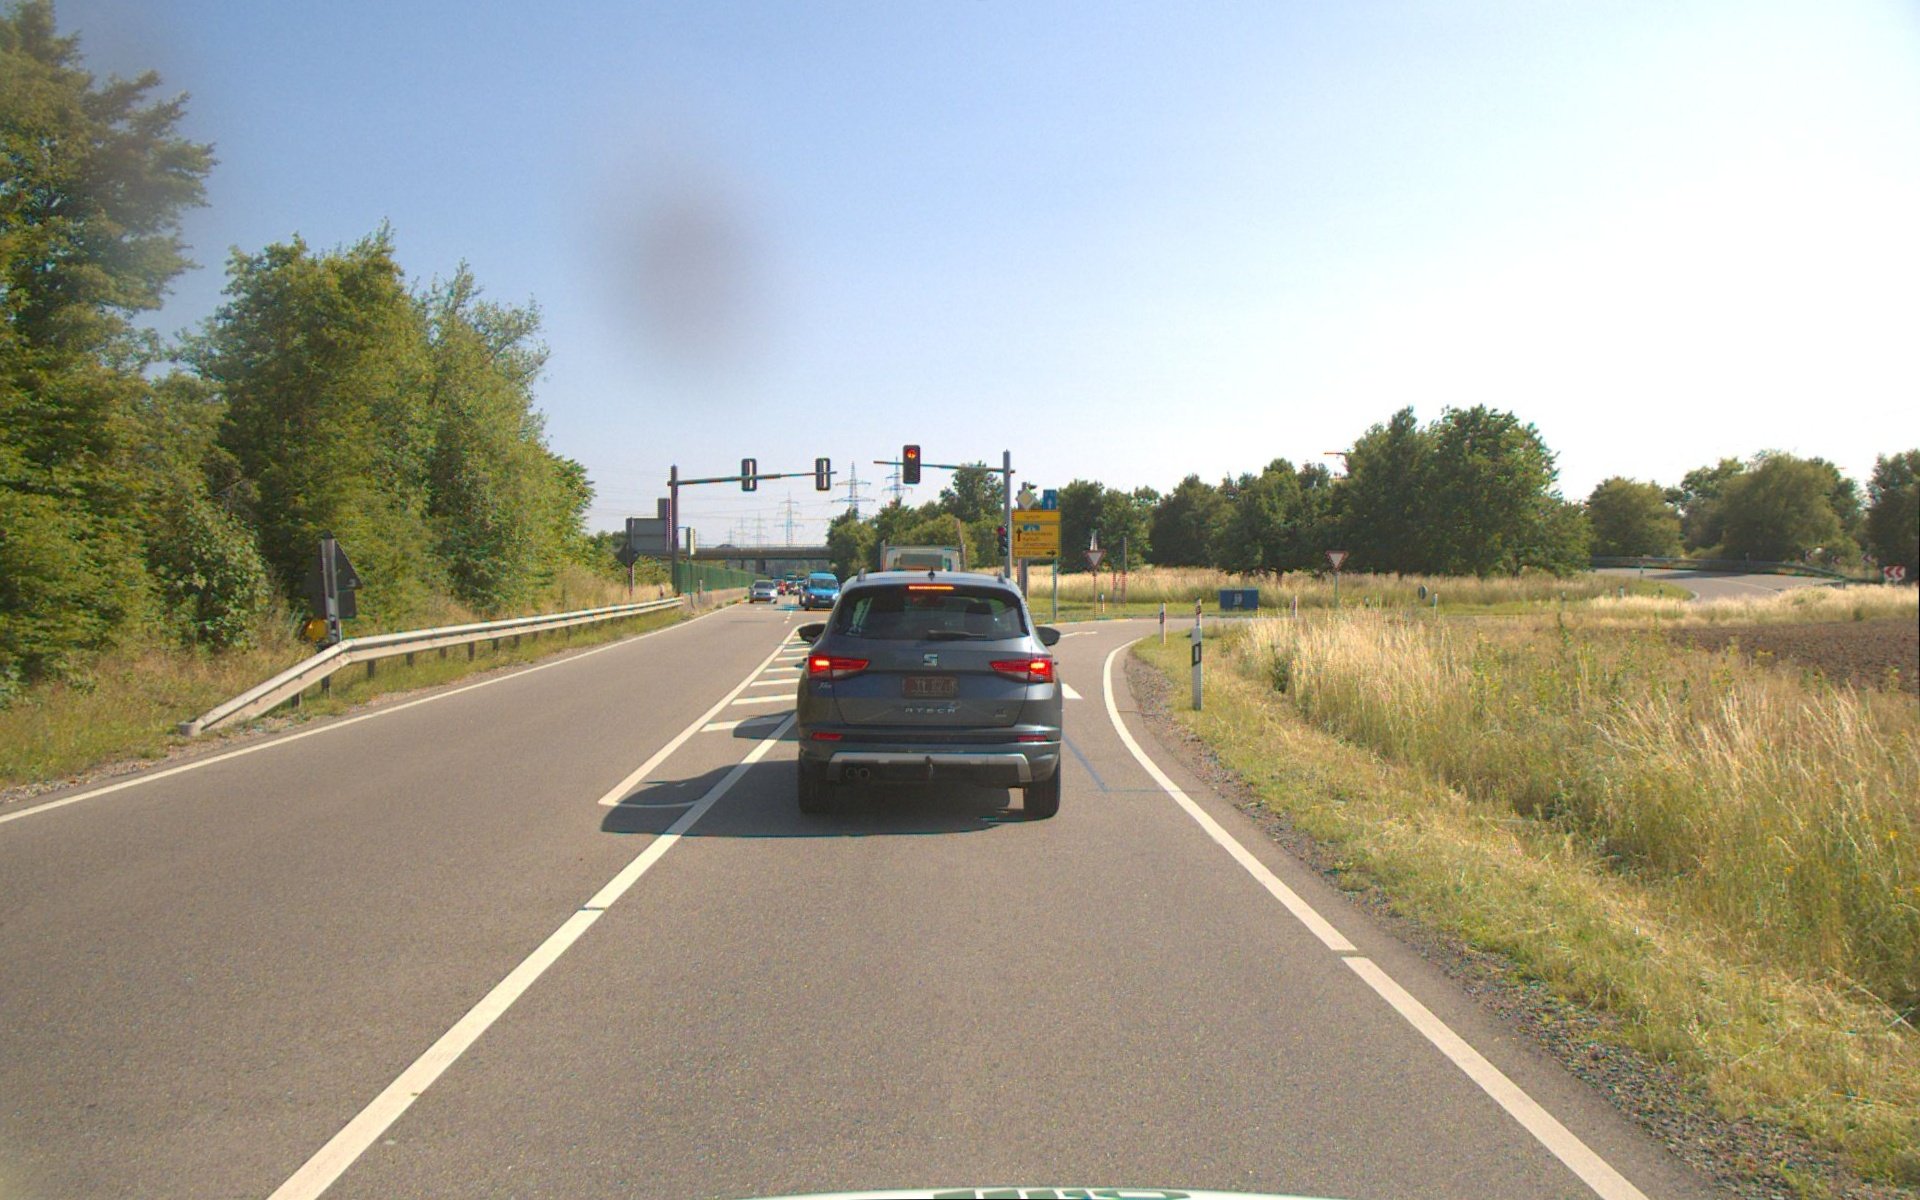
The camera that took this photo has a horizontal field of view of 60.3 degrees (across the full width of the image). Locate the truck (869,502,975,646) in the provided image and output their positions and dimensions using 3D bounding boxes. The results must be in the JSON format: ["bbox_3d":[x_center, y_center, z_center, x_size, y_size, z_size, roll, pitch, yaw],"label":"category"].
[{"bbox_3d":[-0.919,-0.574,39.018,2.290,3.119,5.807,0,0,-2],"label":"truck"}]

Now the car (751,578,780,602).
[{"bbox_3d":[-12.325,-0.658,104.910,1.789,1.456,3.994,-1,1,-7],"label":"car"}]

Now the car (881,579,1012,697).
[{"bbox_3d":[-0.277,0.483,24.413,1.750,1.570,3.998,0,1,-3],"label":"car"}]

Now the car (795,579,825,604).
[{"bbox_3d":[-8.656,-0.519,95.248,1.652,1.404,3.529,0,1,-6],"label":"car"}]

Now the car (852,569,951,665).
[{"bbox_3d":[-1.136,0.267,31.383,1.750,1.705,3.998,0,1,-3],"label":"car"}]

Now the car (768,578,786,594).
[{"bbox_3d":[-17.865,-1.379,161.477,1.728,1.456,3.994,-1,1,-7],"label":"car"}]

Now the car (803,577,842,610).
[{"bbox_3d":[-6.916,-0.352,82.932,1.781,1.567,3.995,-1,1,-6],"label":"car"}]

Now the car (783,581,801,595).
[{"bbox_3d":[-16.846,-1.250,165.687,1.728,1.357,3.994,-1,1,-7],"label":"car"}]

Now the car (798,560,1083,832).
[{"bbox_3d":[-0.217,0.551,12.178,1.750,1.657,3.998,0,1,-3],"label":"car"}]
